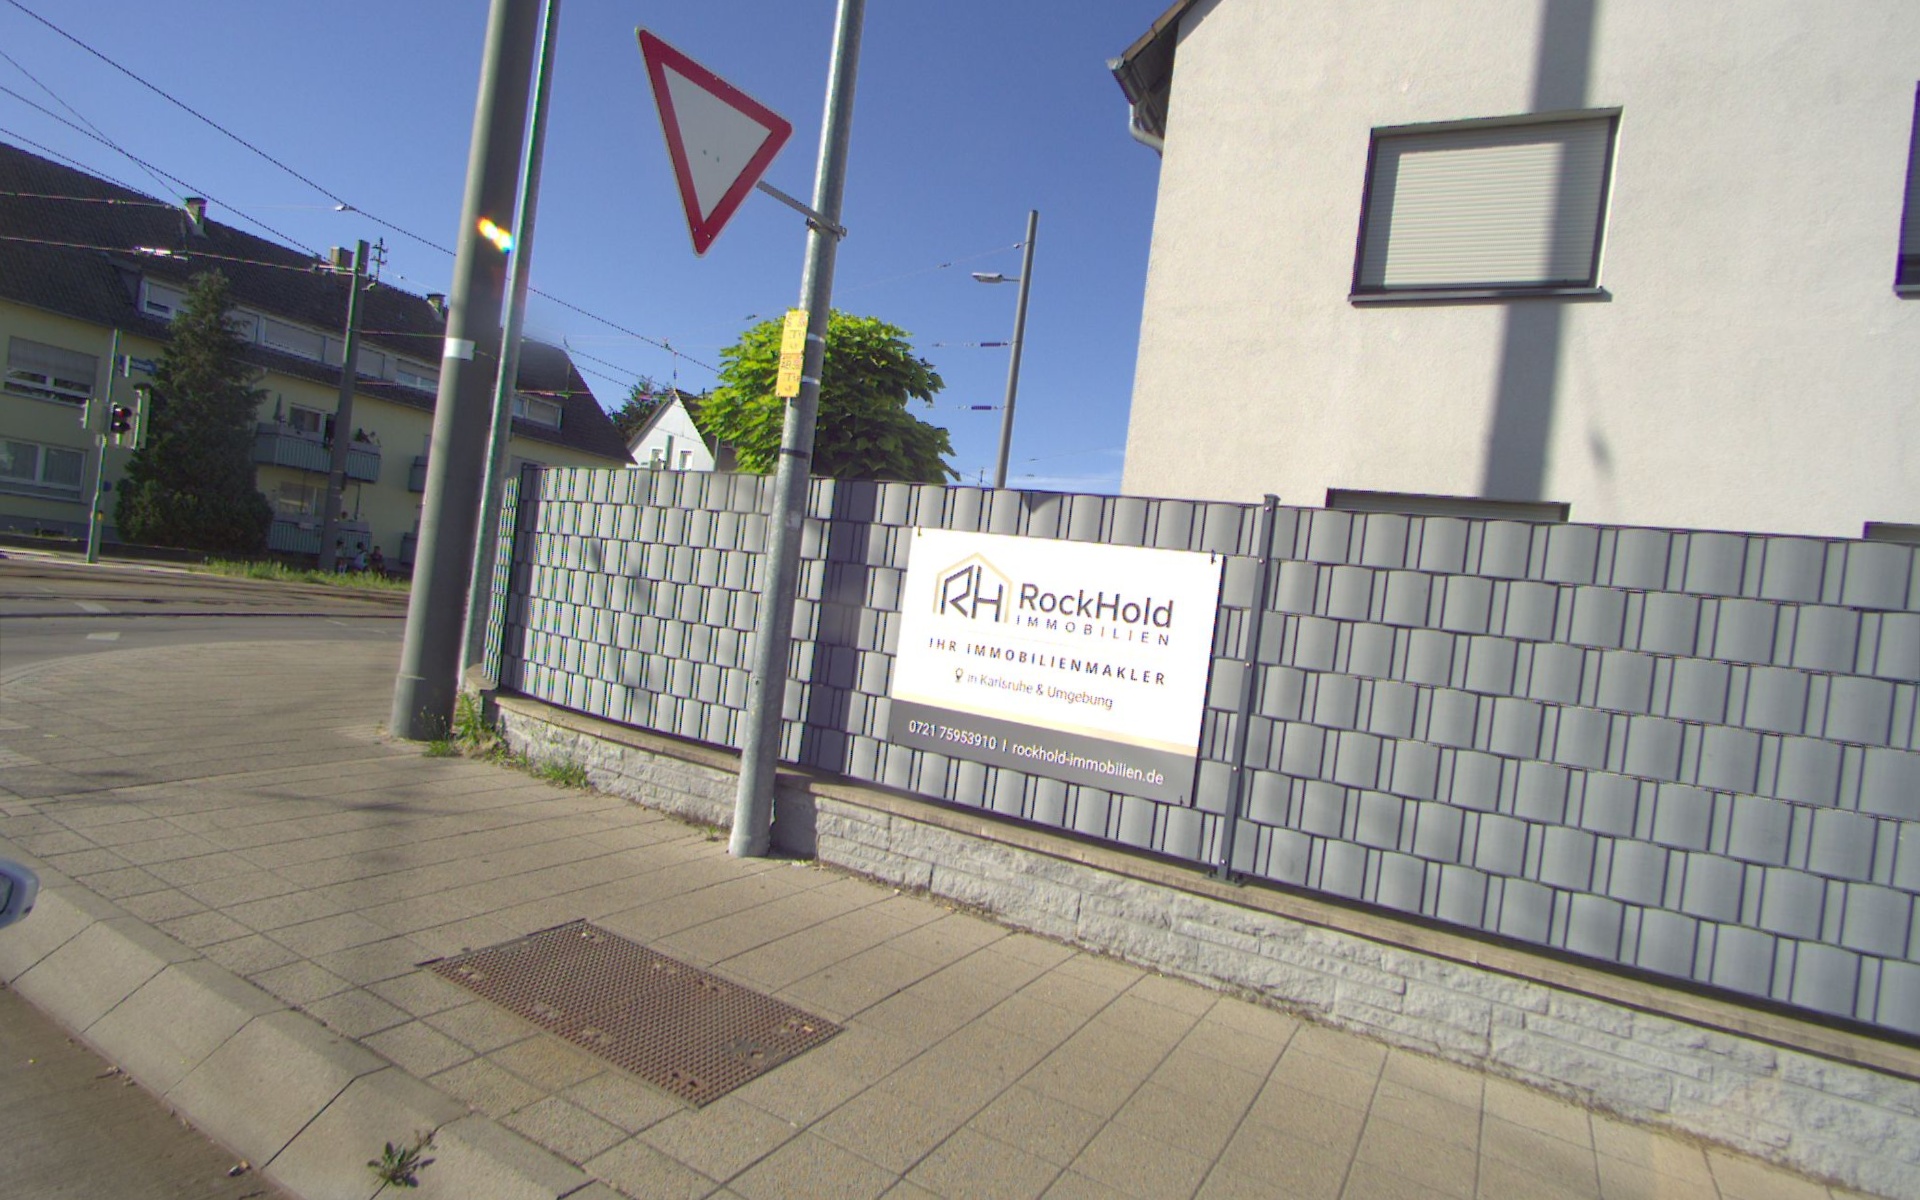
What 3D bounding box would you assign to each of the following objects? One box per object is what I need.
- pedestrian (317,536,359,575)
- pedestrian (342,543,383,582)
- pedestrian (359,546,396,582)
[{"bbox_3d":[-19.192,-1.371,31.050,0.805,1.059,0.688,7,-1,24],"label":"pedestrian"},{"bbox_3d":[-18.908,-1.176,31.840,0.806,1.077,0.626,8,-1,-6],"label":"pedestrian"},{"bbox_3d":[-18.801,-1.167,32.487,0.711,1.017,0.595,8,-1,3],"label":"pedestrian"}]
